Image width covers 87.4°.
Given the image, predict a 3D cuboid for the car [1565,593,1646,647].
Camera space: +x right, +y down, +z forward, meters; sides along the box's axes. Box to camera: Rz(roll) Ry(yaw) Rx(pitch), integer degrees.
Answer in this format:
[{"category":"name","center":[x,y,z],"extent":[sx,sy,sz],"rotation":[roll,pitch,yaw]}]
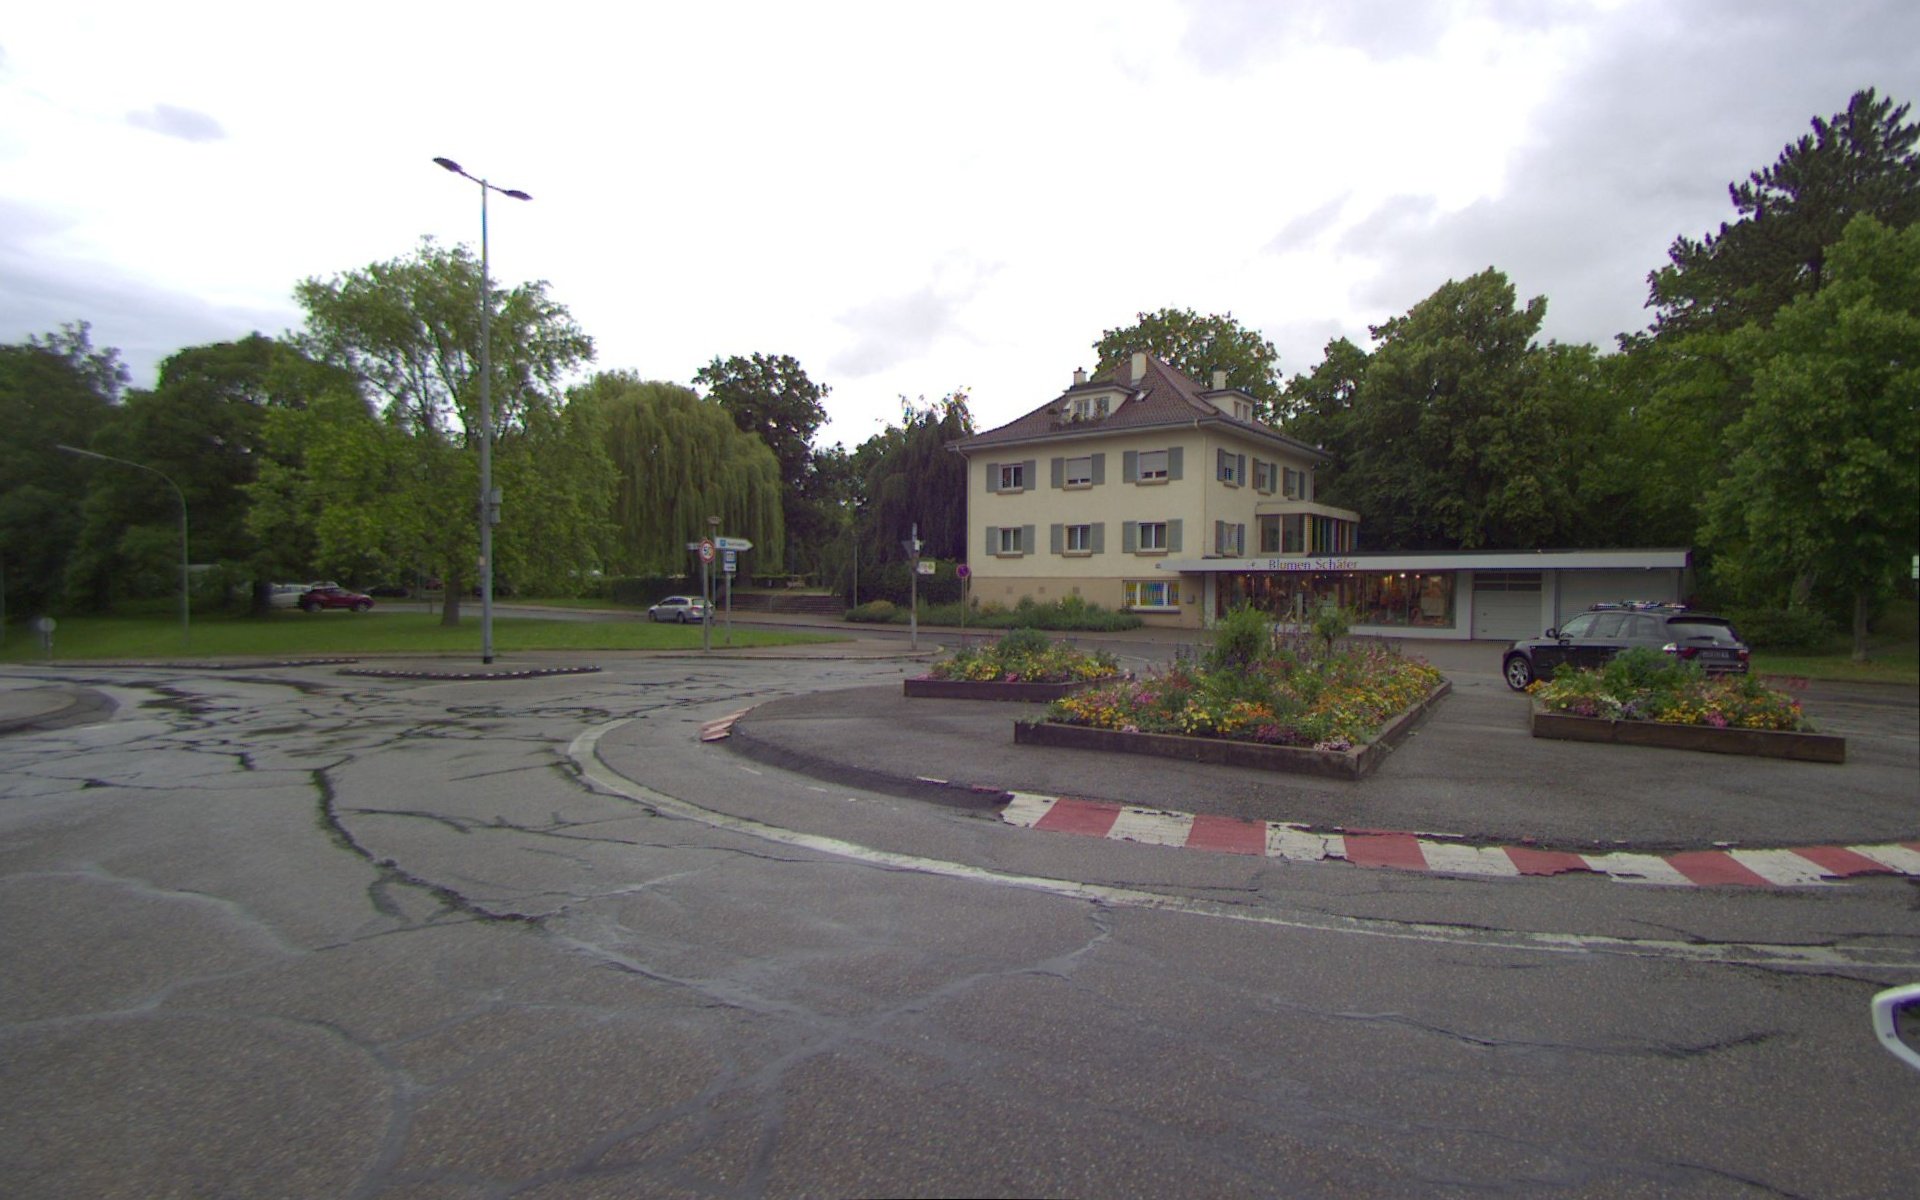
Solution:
[{"category":"car","center":[19.269,0.572,29.915],"extent":[1.789,1.506,3.816],"rotation":[0,0,37]}]

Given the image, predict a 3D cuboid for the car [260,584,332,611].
[{"category":"car","center":[-44.186,-0.156,66.879],"extent":[1.780,1.615,3.616],"rotation":[3,1,42]}]

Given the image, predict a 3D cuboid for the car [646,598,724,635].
[{"category":"car","center":[-15.063,0.895,54.979],"extent":[4.075,1.765,1.993],"rotation":[3,1,36]}]

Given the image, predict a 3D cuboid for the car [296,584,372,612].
[{"category":"car","center":[-38.580,-0.110,61.984],"extent":[1.780,1.615,3.616],"rotation":[3,1,42]}]

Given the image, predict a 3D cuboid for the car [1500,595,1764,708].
[{"category":"car","center":[12.071,0.871,18.440],"extent":[1.737,1.825,4.243],"rotation":[1,-1,-6]}]
